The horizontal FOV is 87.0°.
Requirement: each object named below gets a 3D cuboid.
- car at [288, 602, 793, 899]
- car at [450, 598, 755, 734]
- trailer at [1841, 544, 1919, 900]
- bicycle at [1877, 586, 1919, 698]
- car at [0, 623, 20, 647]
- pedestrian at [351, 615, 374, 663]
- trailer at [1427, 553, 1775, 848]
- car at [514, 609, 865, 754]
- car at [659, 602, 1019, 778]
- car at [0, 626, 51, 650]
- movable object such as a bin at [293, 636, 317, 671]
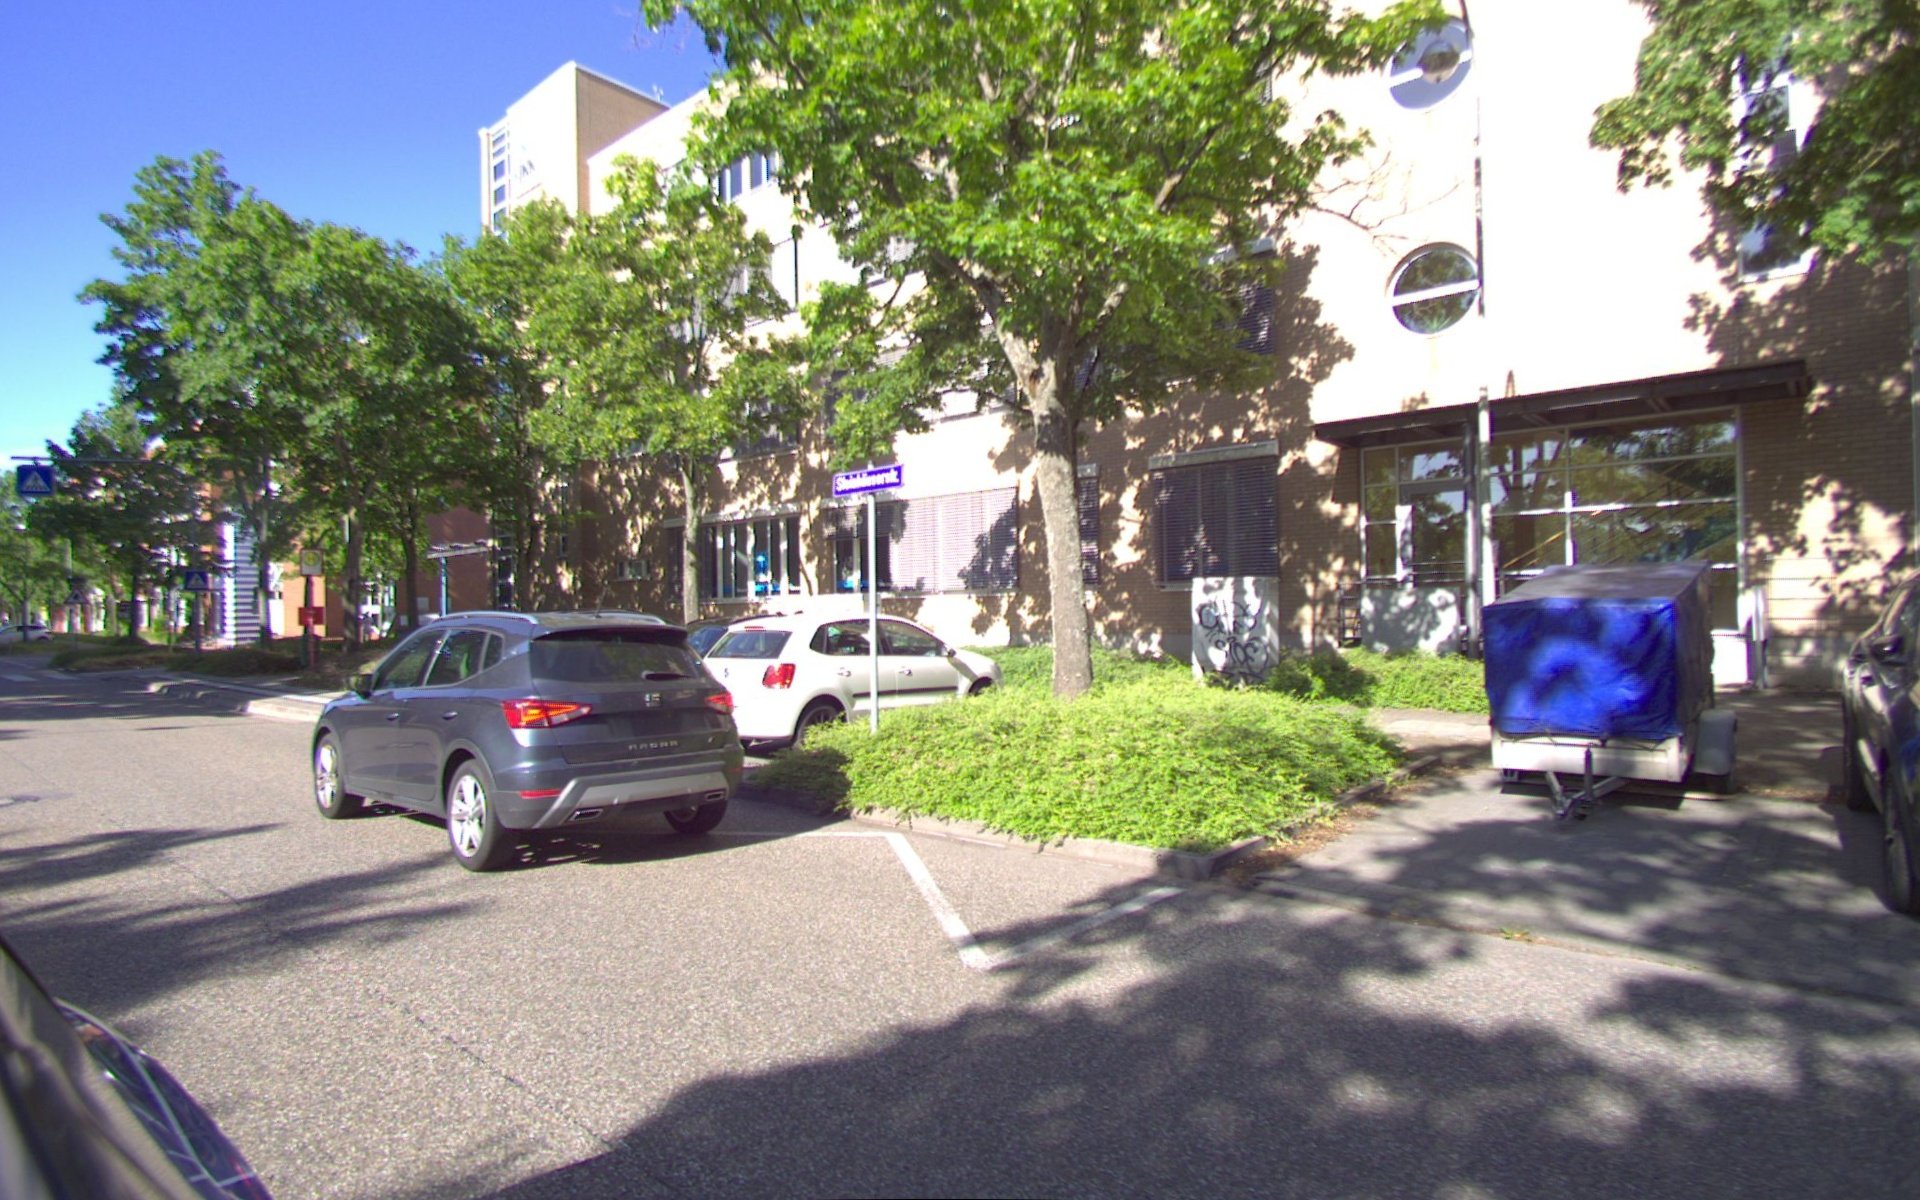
[{"bbox_3d":[-3.160,0.821,7.221,3.998,1.523,1.761,-2,-1,42],"label":"car"},{"bbox_3d":[-5.213,0.872,15.163,1.727,1.582,3.947,-2,1,40],"label":"car"},{"bbox_3d":[5.860,0.487,5.085,1.853,1.584,4.221,-2,1,38],"label":"trailer"},{"bbox_3d":[11.349,0.474,11.875,0.449,1.238,1.681,-1,1,28],"label":"bicycle"},{"bbox_3d":[-77.745,2.792,79.764,2.000,1.901,5.247,-2,-2,42],"label":"car"},{"bbox_3d":[-25.948,1.676,43.943,0.673,1.930,0.615,15,11,42],"label":"pedestrian"},{"bbox_3d":[4.771,0.560,7.416,1.711,1.700,2.697,-2,0,41],"label":"trailer"},{"bbox_3d":[-3.361,0.924,13.228,1.800,1.413,4.109,-2,1,41],"label":"car"},{"bbox_3d":[-1.193,0.844,11.201,1.754,1.463,3.715,-2,1,41],"label":"car"},{"bbox_3d":[-61.040,2.478,64.851,1.617,1.430,3.953,-2,0,40],"label":"car"},{"bbox_3d":[-14.824,1.202,22.901,0.436,0.736,0.409,-2,1,-33],"label":"movable object such as a bin"}]
